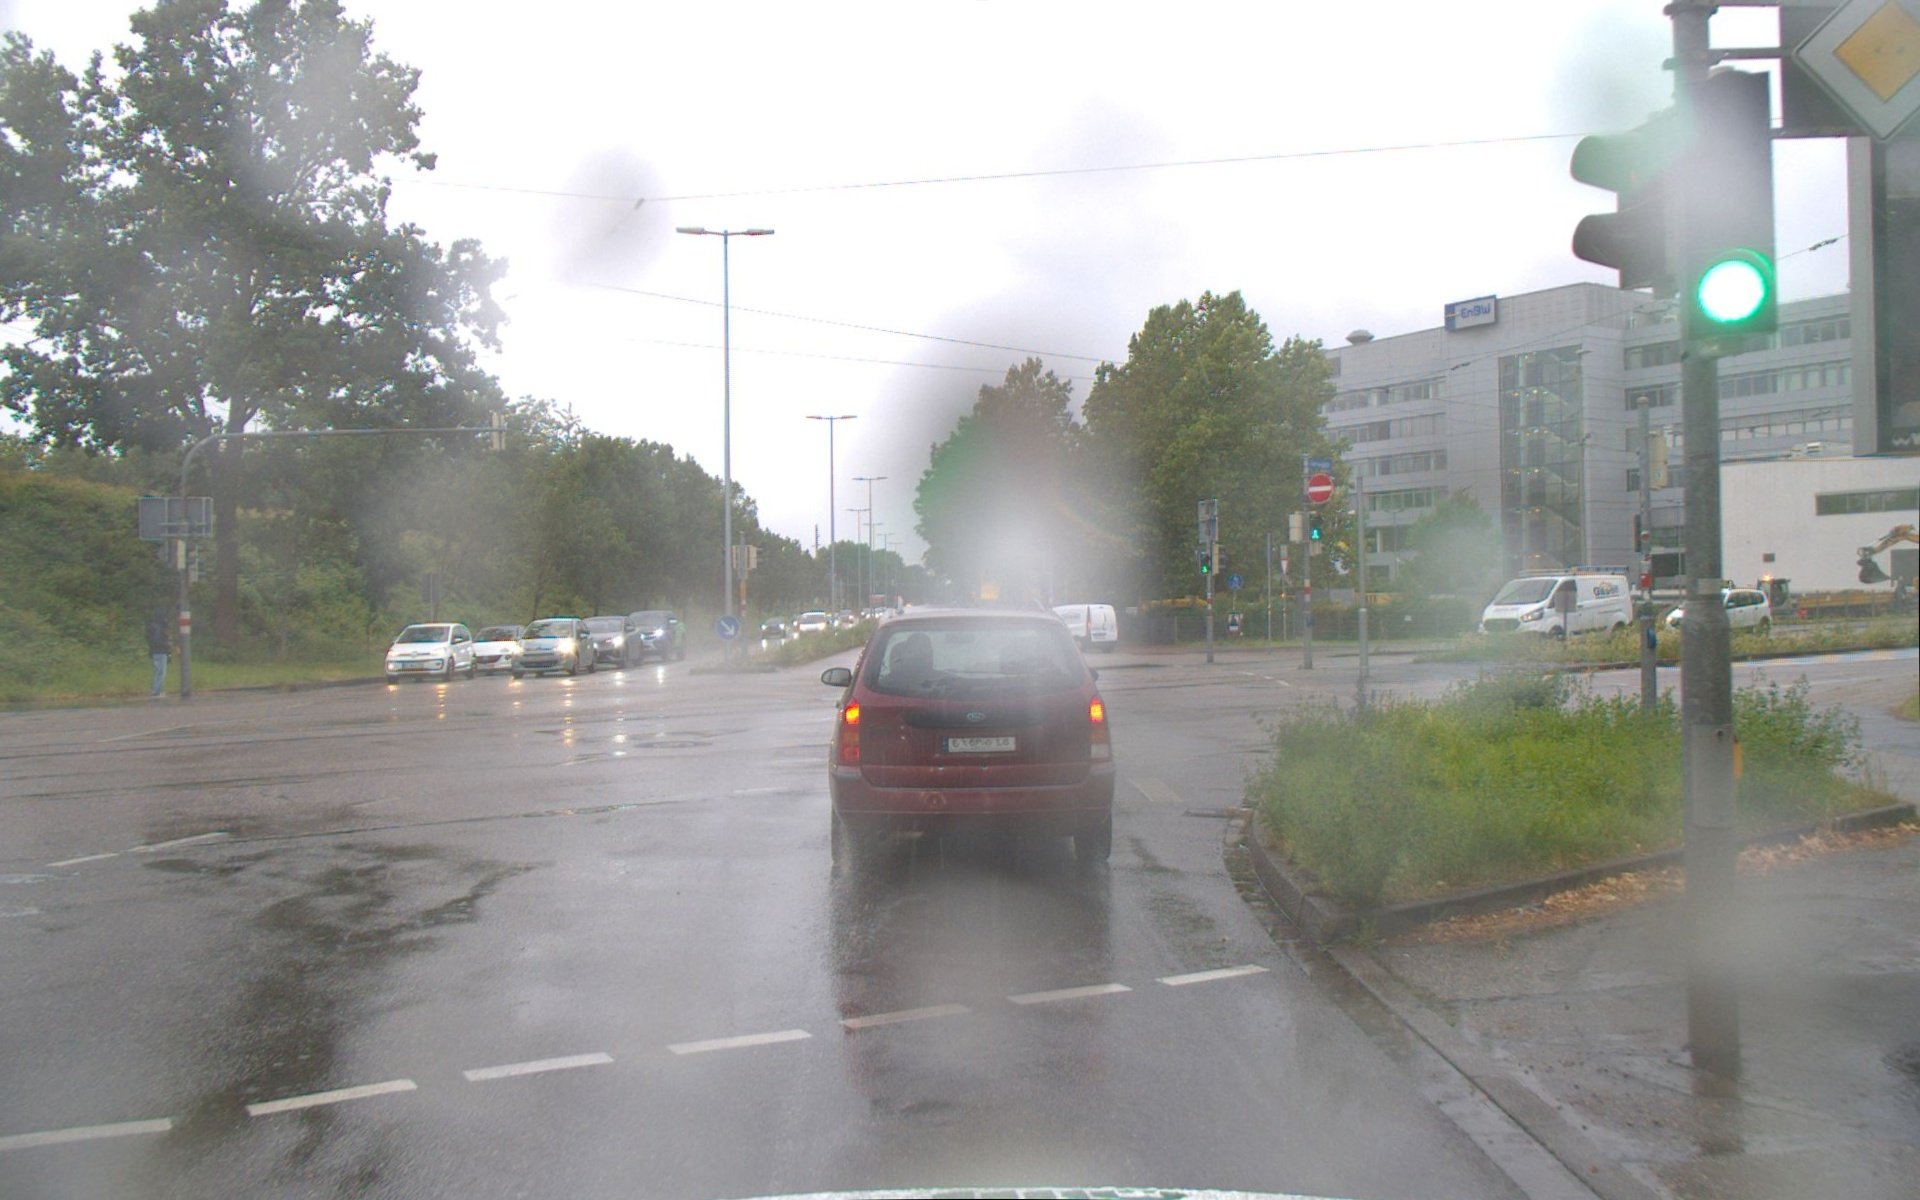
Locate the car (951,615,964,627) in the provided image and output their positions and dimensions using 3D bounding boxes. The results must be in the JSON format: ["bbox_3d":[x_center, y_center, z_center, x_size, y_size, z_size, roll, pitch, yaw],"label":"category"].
[{"bbox_3d":[-0.319,2.662,212.672,1.636,1.554,3.846,-1,-1,1],"label":"car"}]

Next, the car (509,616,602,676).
[{"bbox_3d":[-10.834,1.196,44.506,1.605,1.499,3.963,-2,0,-2],"label":"car"}]

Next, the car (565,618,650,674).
[{"bbox_3d":[-10.922,1.424,51.491,1.727,1.614,4.811,-2,-1,-2],"label":"car"}]

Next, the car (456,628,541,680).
[{"bbox_3d":[-13.845,1.607,49.806,1.558,1.428,3.821,-2,0,-2],"label":"car"}]

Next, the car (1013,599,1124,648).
[{"bbox_3d":[4.071,0.869,62.329,1.727,1.756,4.178,1,-1,-42],"label":"car"}]

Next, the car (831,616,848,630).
[{"bbox_3d":[-14.692,2.810,201.914,1.923,1.625,4.282,-2,0,-2],"label":"car"}]

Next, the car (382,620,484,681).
[{"bbox_3d":[-13.794,1.283,43.476,1.605,1.478,3.785,-2,0,-3],"label":"car"}]

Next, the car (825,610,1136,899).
[{"bbox_3d":[0.065,0.823,10.536,1.609,1.490,3.731,1,0,-2],"label":"car"}]

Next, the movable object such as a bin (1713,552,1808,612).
[{"bbox_3d":[42.258,-0.954,87.328,3.292,3.048,3.288,-1,-1,-37],"label":"movable object such as a bin"}]

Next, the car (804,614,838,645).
[{"bbox_3d":[-8.314,1.762,99.438,1.708,1.732,4.282,-3,0,-2],"label":"car"}]

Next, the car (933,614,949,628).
[{"bbox_3d":[-2.105,2.335,182.535,1.663,1.554,3.846,-1,-1,1],"label":"car"}]

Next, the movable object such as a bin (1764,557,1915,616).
[{"bbox_3d":[48.979,-0.739,92.281,3.292,3.048,6.635,-1,-1,-36],"label":"movable object such as a bin"}]

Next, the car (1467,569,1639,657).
[{"bbox_3d":[15.311,0.320,42.624,4.640,2.163,1.973,0,-1,-38],"label":"car"}]

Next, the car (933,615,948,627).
[{"bbox_3d":[-2.568,2.729,218.890,1.636,1.554,3.847,-1,-1,4],"label":"car"}]

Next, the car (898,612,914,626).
[{"bbox_3d":[-6.197,2.169,190.665,1.663,1.554,3.846,-1,-1,1],"label":"car"}]

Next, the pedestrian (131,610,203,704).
[{"bbox_3d":[-16.305,1.157,34.041,1.083,1.879,1.127,-1,-1,-12],"label":"pedestrian"}]

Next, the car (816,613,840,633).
[{"bbox_3d":[-11.716,2.020,147.007,1.923,1.732,4.282,-2,0,-2],"label":"car"}]

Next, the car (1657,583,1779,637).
[{"bbox_3d":[24.847,0.321,54.161,4.335,1.649,1.753,-1,-1,-37],"label":"car"}]

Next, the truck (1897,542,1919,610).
[{"bbox_3d":[53.401,-1.368,85.656,3.291,3.568,7.790,-1,-1,-35],"label":"truck"}]

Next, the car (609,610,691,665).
[{"bbox_3d":[-11.125,1.316,59.775,2.024,1.851,5.539,-2,0,-2],"label":"car"}]

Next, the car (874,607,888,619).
[{"bbox_3d":[-11.570,1.895,242.906,1.923,1.625,4.283,-2,0,-1],"label":"car"}]

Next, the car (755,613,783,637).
[{"bbox_3d":[-14.618,1.896,126.894,1.708,1.732,4.282,1,0,-2],"label":"car"}]

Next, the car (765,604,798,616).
[{"bbox_3d":[-24.989,1.410,231.723,4.237,1.625,1.944,-1,-1,-36],"label":"car"}]

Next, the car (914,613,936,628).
[{"bbox_3d":[-3.684,2.210,176.332,2.103,1.554,4.193,-1,-1,2],"label":"car"}]
